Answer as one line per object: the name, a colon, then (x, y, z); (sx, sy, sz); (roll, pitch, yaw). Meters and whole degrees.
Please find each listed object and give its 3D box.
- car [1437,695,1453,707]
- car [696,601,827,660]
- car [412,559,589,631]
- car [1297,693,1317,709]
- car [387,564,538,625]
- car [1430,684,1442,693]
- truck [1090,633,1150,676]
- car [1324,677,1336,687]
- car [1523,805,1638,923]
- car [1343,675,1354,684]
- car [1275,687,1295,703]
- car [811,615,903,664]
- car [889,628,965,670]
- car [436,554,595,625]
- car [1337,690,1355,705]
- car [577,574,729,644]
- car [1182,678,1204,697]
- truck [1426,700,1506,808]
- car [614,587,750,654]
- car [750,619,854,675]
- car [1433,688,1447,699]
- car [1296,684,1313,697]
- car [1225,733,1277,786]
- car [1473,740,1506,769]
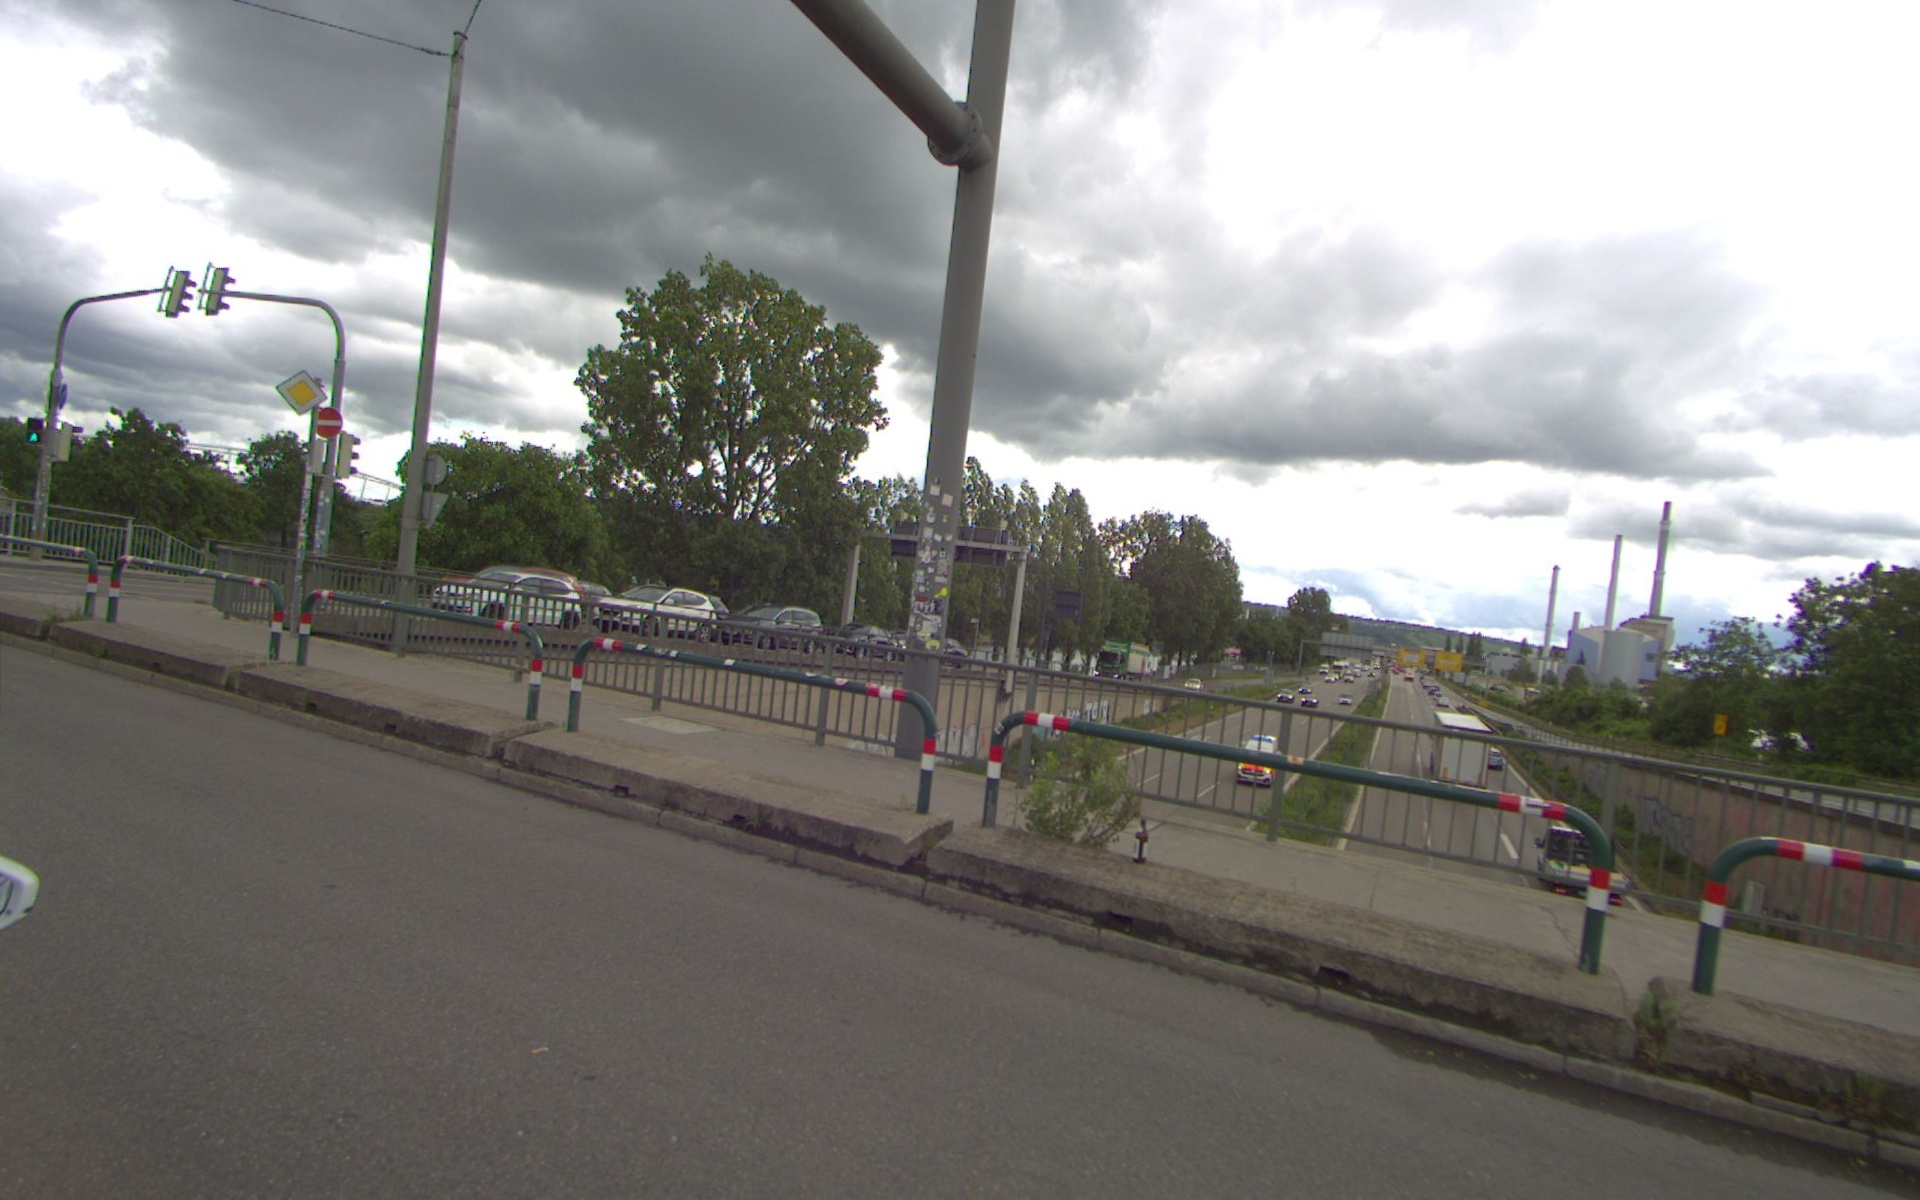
car: (78.843, 16.384, 163.606); (1.963, 1.756, 3.999); (5, -2, 22)
car: (-7.046, 1.167, 36.280); (1.965, 1.637, 4.963); (5, -3, 26)
car: (-11.576, -0.081, 25.587); (1.759, 1.328, 3.766); (5, -3, 24)
car: (43.403, 12.642, 125.790); (1.964, 1.726, 4.080); (5, -2, 24)
car: (-15.913, -0.134, 32.393); (1.665, 1.436, 4.154); (5, -3, 24)
car: (100.393, 18.707, 212.235); (1.963, 1.756, 3.999); (6, -2, 22)
truck: (15.174, 5.164, 94.742); (2.733, 3.553, 9.249); (7, 0, 26)
car: (78.014, 17.321, 212.313); (1.964, 1.726, 4.080); (5, -2, 24)
car: (21.942, 9.205, 35.942); (2.871, 2.528, 7.271); (5, -2, 29)
car: (86.310, 17.675, 223.627); (1.964, 1.726, 4.080); (5, -2, 24)
car: (42.192, 12.343, 130.621); (1.964, 1.726, 4.080); (5, -2, 24)
car: (-4.304, 1.709, 42.656); (1.964, 1.636, 4.000); (5, -3, 25)
car: (-1.557, 2.343, 49.341); (1.964, 1.640, 3.990); (7, 3, 26)
car: (-12.809, -0.251, 29.235); (1.665, 1.557, 4.009); (5, -3, 25)
car: (52.950, 13.336, 137.905); (1.964, 1.726, 4.080); (5, -2, 24)
car: (-9.371, 0.336, 31.099); (1.965, 1.638, 4.342); (5, -3, 26)
car: (28.269, 10.563, 121.990); (1.963, 1.692, 3.765); (7, 2, 21)
truck: (31.305, 9.242, 62.719); (3.524, 4.547, 13.154); (7, 3, 25)
car: (-9.916, 0.708, 36.280); (2.174, 2.041, 4.536); (7, 3, 25)
car: (-6.811, 1.985, 43.905); (2.174, 2.041, 4.536); (7, 3, 25)
car: (90.033, 17.484, 188.603); (1.963, 1.756, 3.999); (6, -2, 22)
car: (53.597, 14.053, 156.585); (1.964, 1.726, 4.080); (5, -2, 24)
car: (16.242, 8.810, 55.951); (1.964, 2.398, 4.590); (5, -2, 24)
car: (40.081, 11.675, 76.232); (1.965, 1.756, 3.995); (5, -2, 27)
